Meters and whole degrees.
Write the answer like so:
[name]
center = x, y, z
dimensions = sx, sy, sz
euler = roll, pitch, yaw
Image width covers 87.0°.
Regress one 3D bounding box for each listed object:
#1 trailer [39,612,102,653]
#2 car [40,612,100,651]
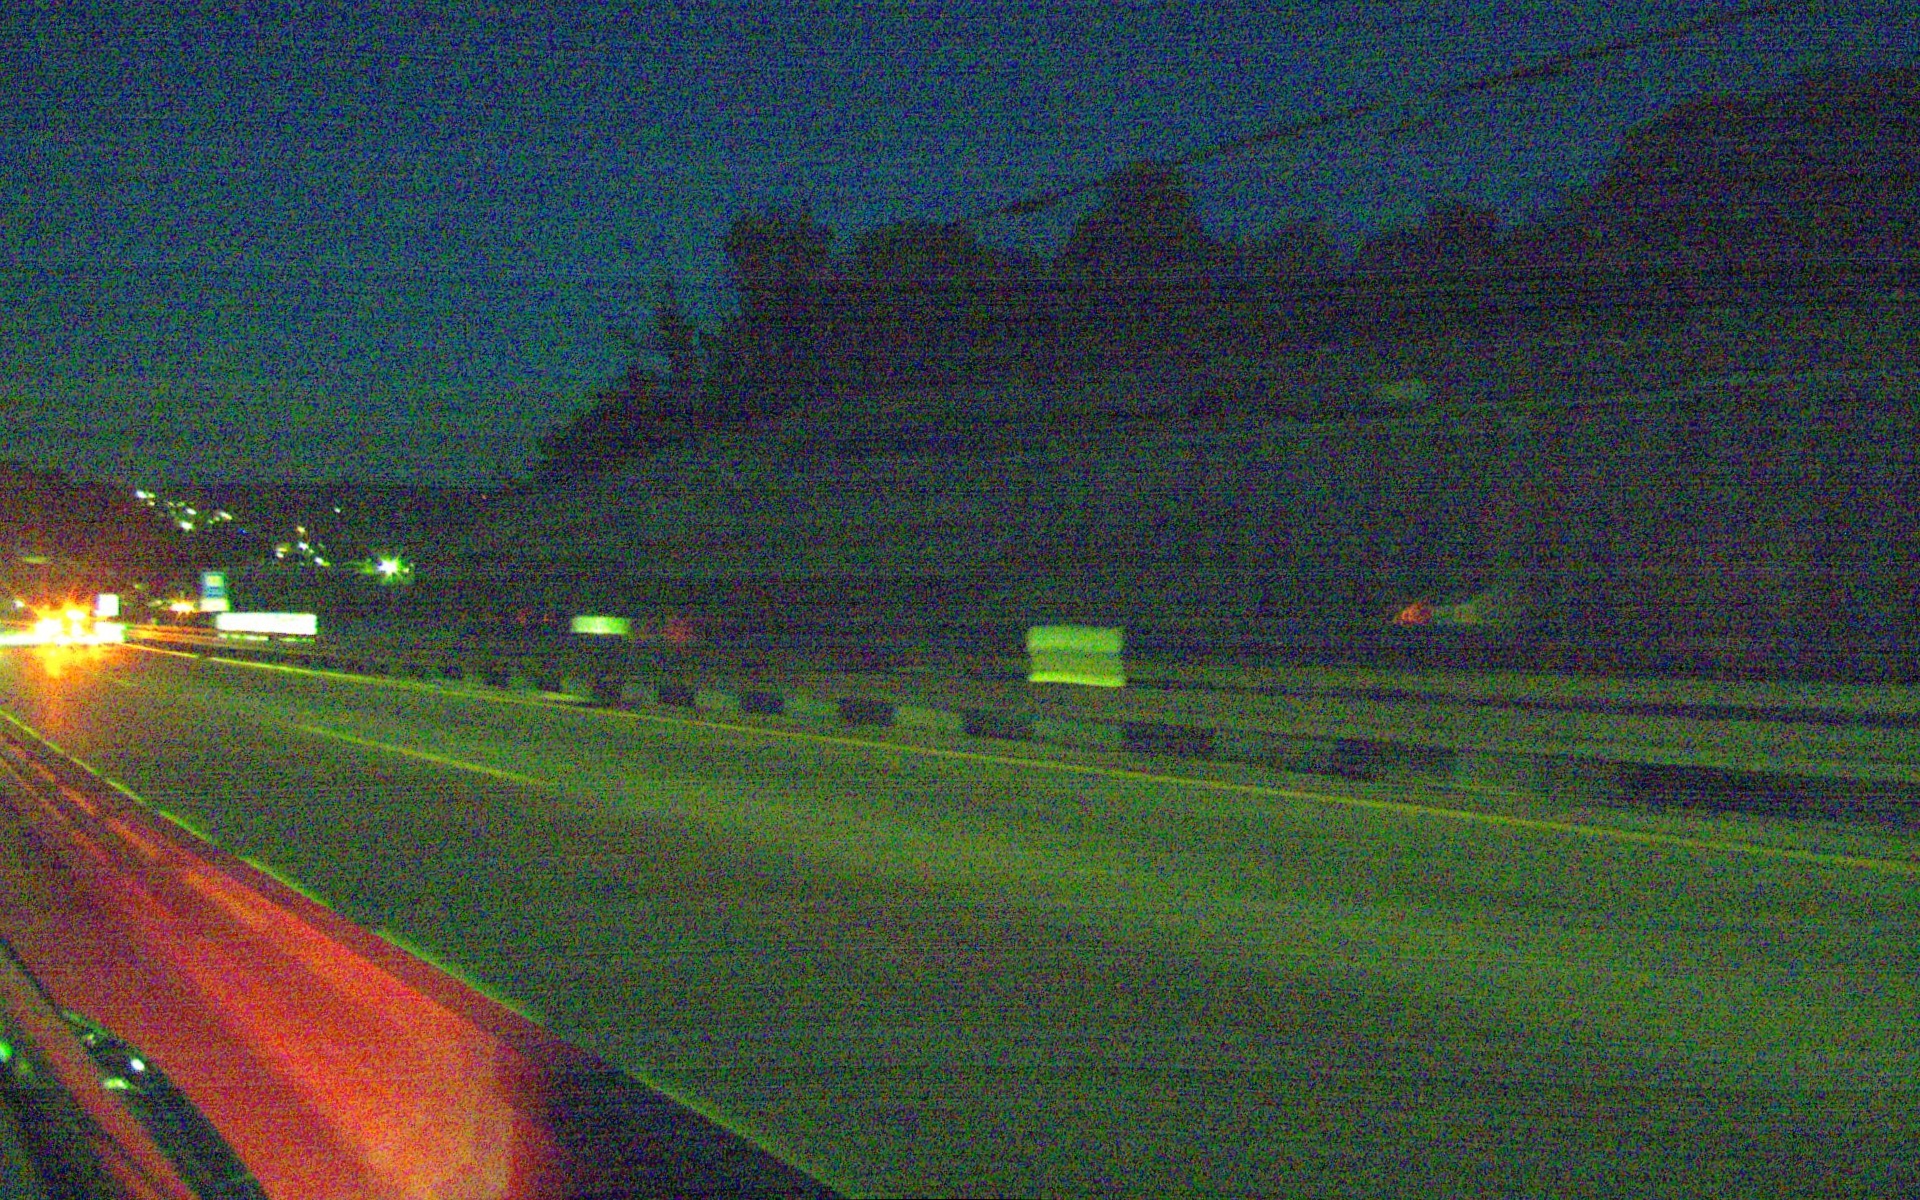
[trailer]
center = -38.513, 1.381, 43.803
dimensions = 1.989, 1.652, 3.421
euler = 0, 0, -42
[car]
center = -41.243, 1.408, 46.905
dimensions = 1.988, 1.652, 4.869
euler = 0, 0, -42
